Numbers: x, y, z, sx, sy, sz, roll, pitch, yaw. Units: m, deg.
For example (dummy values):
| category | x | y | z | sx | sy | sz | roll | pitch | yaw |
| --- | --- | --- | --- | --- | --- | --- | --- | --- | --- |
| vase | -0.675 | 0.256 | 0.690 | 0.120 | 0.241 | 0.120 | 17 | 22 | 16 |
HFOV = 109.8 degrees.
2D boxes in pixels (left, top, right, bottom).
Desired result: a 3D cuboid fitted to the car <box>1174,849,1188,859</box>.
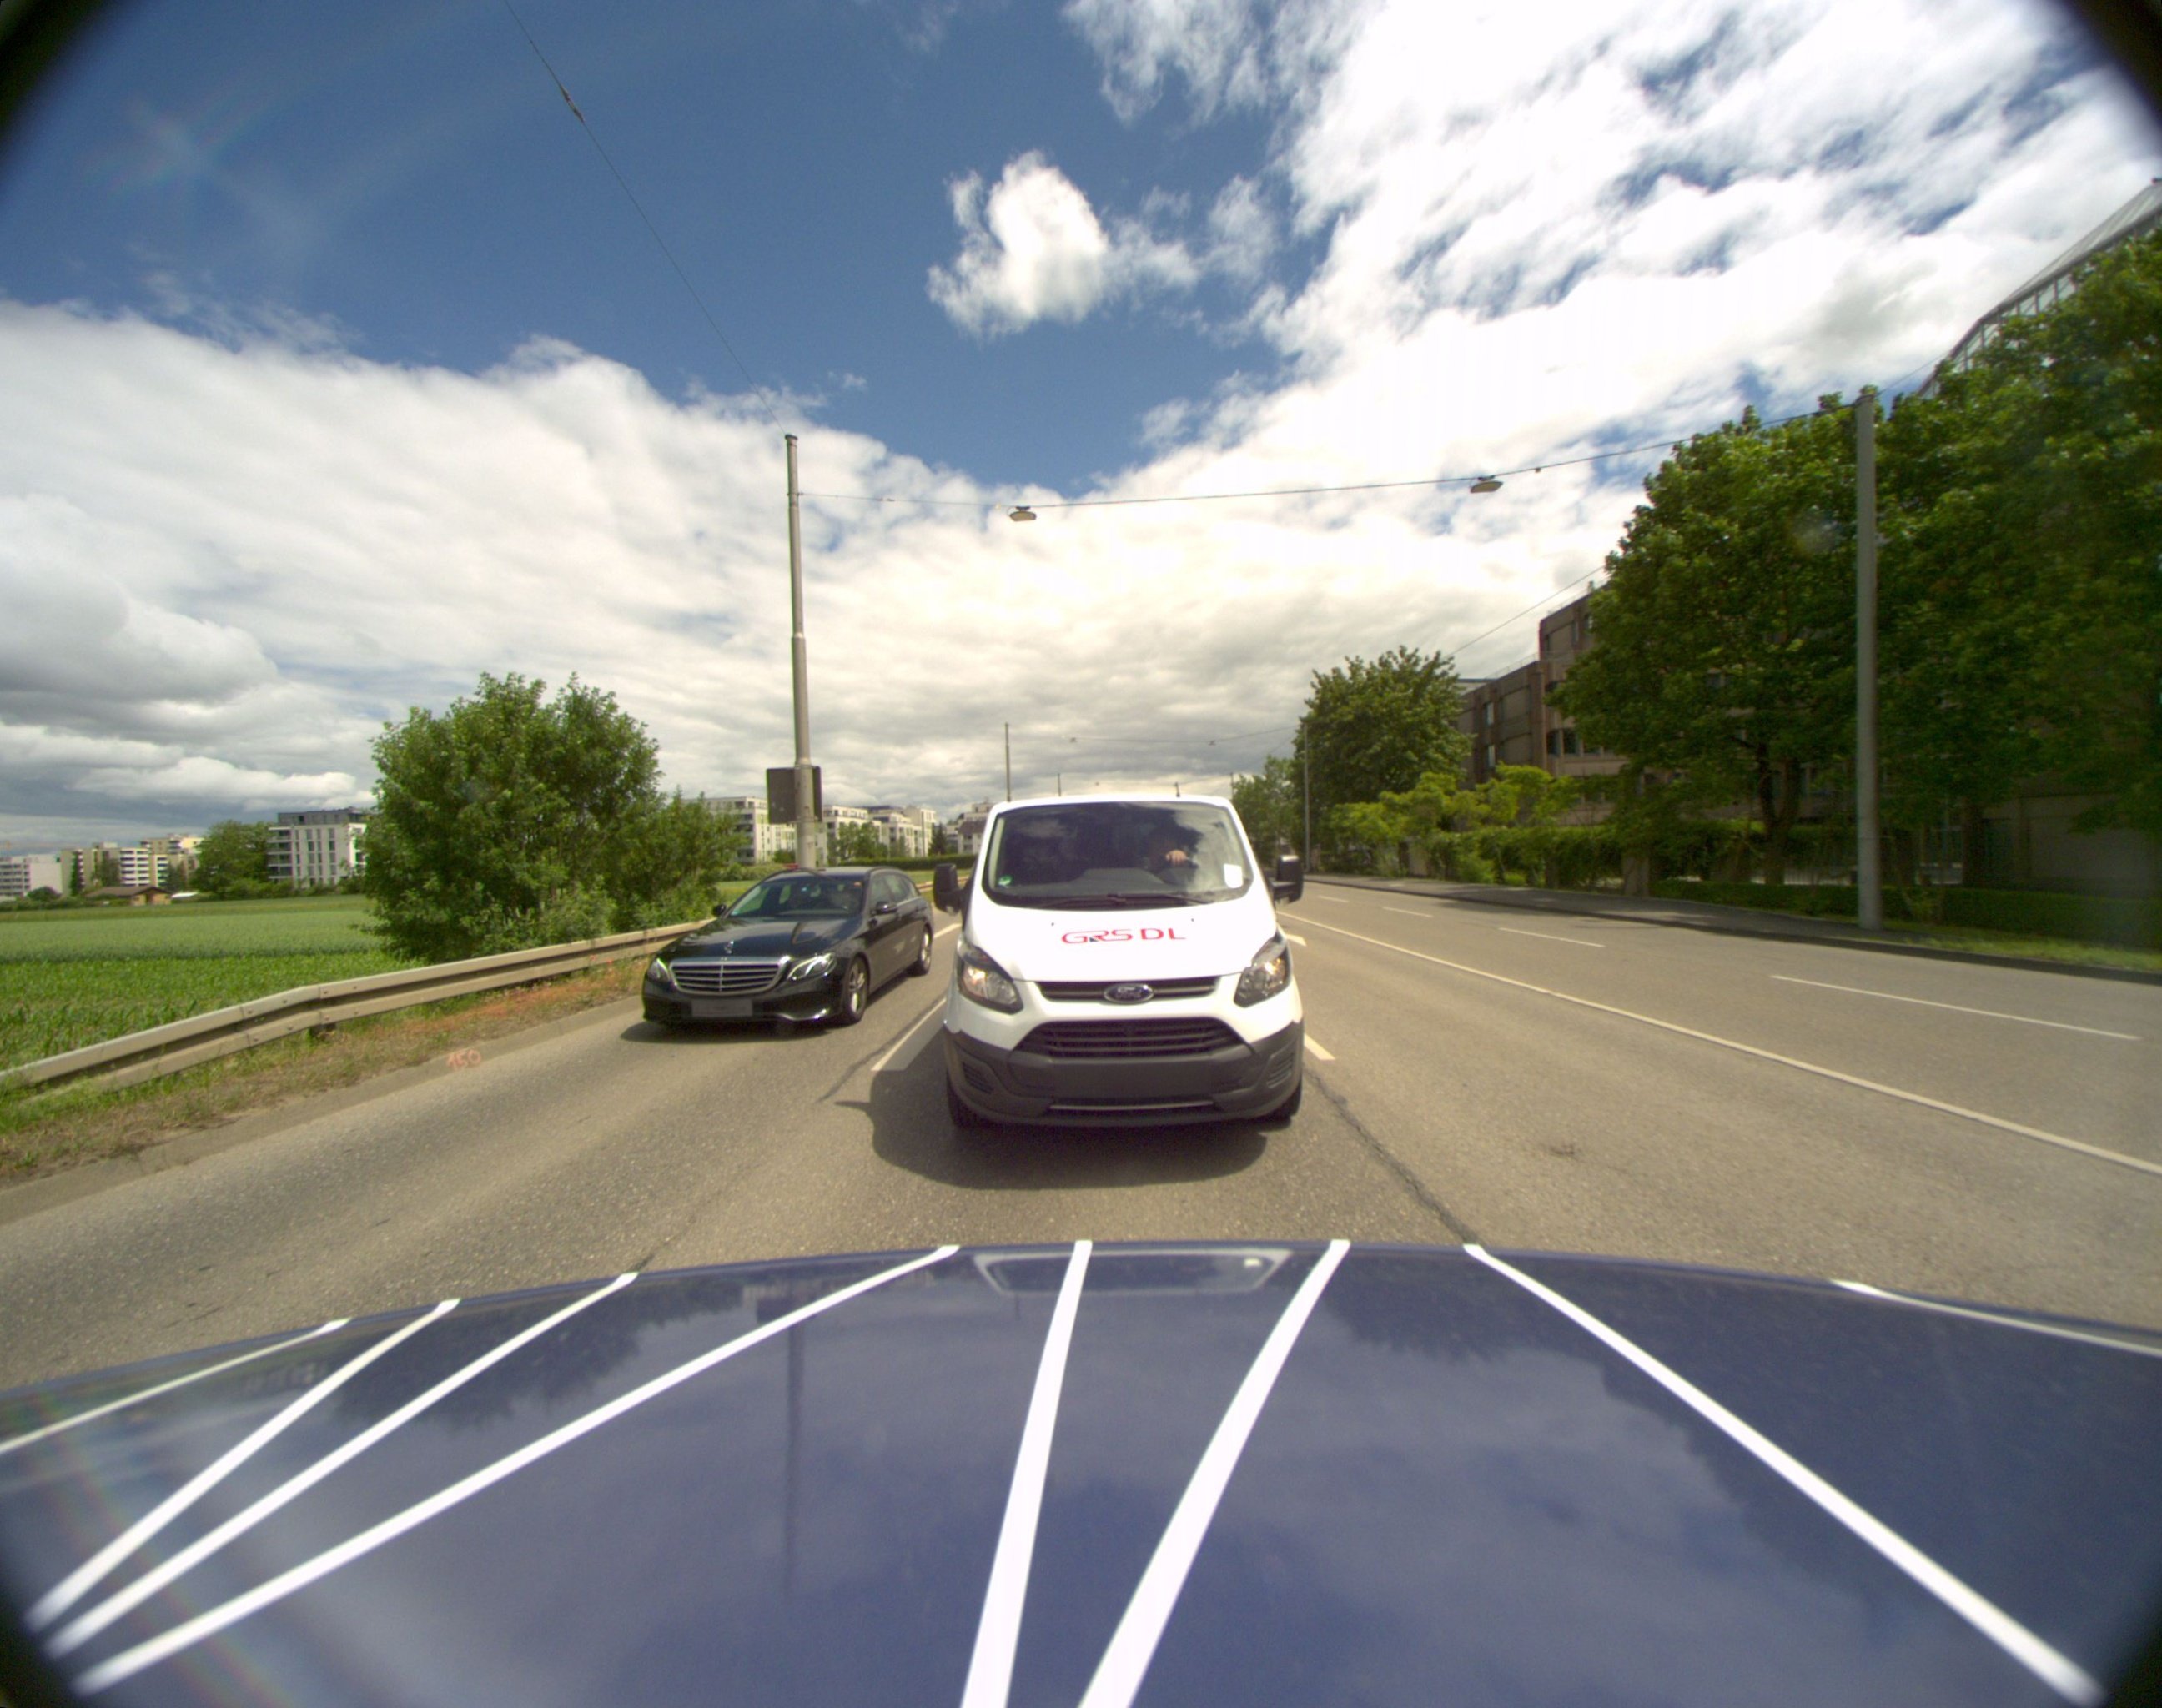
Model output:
| category | x | y | z | sx | sy | sz | roll | pitch | yaw |
| --- | --- | --- | --- | --- | --- | --- | --- | --- | --- |
| car | 16.997 | 0.060 | 129.066 | 1.801 | 1.576 | 4.313 | -2 | 1 | 1 |

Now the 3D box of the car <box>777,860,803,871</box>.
| category | x | y | z | sx | sy | sz | roll | pitch | yaw |
| --- | --- | --- | --- | --- | --- | --- | --- | --- | --- |
| car | -59.571 | 2.387 | 155.640 | 4.436 | 2.002 | 2.000 | -1 | 1 | 2 |

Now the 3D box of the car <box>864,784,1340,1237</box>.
| category | x | y | z | sx | sy | sz | roll | pitch | yaw |
| --- | --- | --- | --- | --- | --- | --- | --- | --- | --- |
| car | 0.286 | 0.698 | 6.196 | 1.998 | 1.906 | 5.884 | -1 | 0 | 4 |

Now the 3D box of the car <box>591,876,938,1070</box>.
| category | x | y | z | sx | sy | sz | roll | pitch | yaw |
| --- | --- | --- | --- | --- | --- | --- | --- | --- | --- |
| car | -3.046 | 1.040 | 8.618 | 1.842 | 1.528 | 4.807 | -1 | -2 | 1 |

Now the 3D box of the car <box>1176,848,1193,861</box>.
| category | x | y | z | sx | sy | sz | roll | pitch | yaw |
| --- | --- | --- | --- | --- | --- | --- | --- | --- | --- |
| car | 14.024 | 0.084 | 102.972 | 1.872 | 1.605 | 4.572 | -1 | 1 | 3 |
